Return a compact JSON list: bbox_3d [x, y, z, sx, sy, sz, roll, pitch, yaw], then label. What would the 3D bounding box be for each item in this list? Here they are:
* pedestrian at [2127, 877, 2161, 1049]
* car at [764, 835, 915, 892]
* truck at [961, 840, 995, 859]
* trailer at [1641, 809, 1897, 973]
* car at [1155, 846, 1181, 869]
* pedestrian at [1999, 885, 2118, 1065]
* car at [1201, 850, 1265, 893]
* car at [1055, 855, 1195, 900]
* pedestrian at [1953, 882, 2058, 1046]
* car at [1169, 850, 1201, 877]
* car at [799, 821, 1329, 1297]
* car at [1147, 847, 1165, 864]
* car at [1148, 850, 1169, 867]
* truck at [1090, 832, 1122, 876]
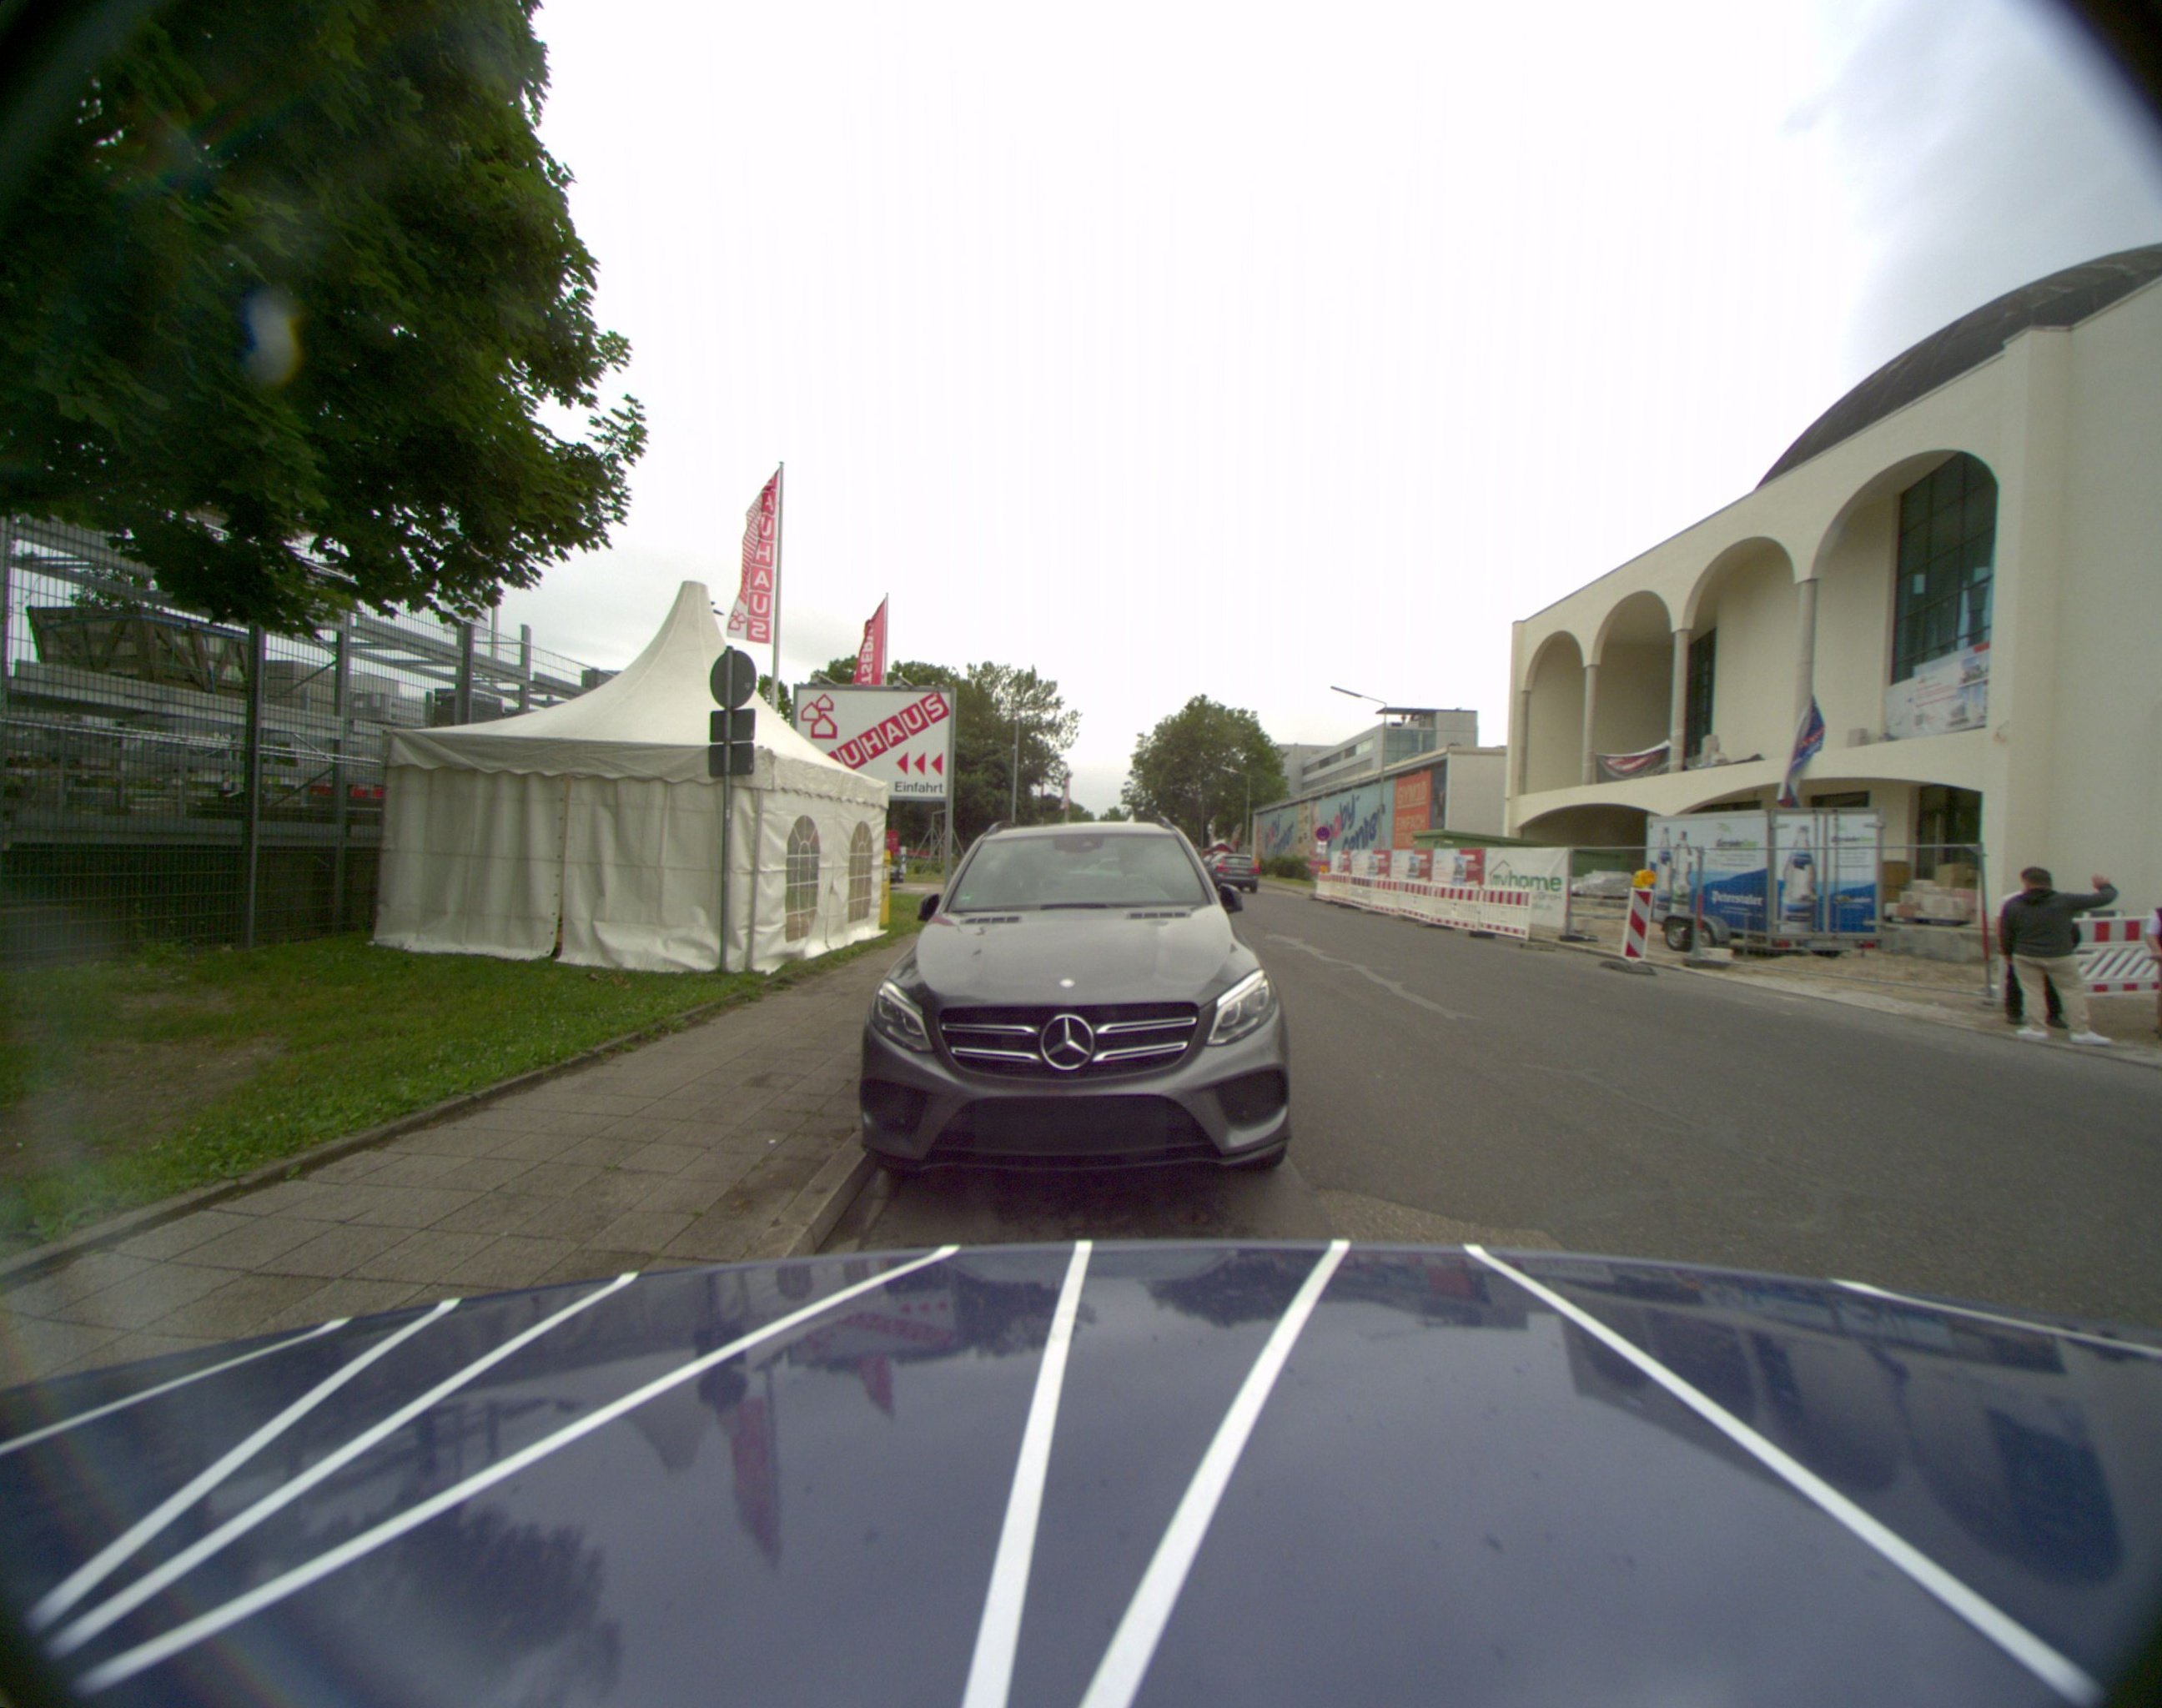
[{"bbox_3d":[11.213,1.101,7.775,0.492,1.738,0.527,0,-2,-38],"label":"pedestrian"},{"bbox_3d":[-8.253,0.294,26.235,4.491,1.674,1.940,3,1,2],"label":"car"},{"bbox_3d":[-13.562,-0.623,100.221,1.994,2.383,4.009,3,1,42],"label":"truck"},{"bbox_3d":[12.300,0.586,13.893,1.802,2.592,3.192,2,1,5],"label":"trailer"},{"bbox_3d":[7.562,0.310,66.376,1.799,1.797,4.383,3,1,1],"label":"car"},{"bbox_3d":[10.066,1.197,7.843,0.492,1.738,0.690,0,-2,-38],"label":"pedestrian"},{"bbox_3d":[6.670,0.703,33.742,1.938,1.674,4.495,3,1,1],"label":"car"},{"bbox_3d":[1.513,0.810,26.700,4.498,1.420,1.936,0,2,-16],"label":"car"},{"bbox_3d":[10.359,1.186,8.525,0.492,1.738,0.690,0,-2,-38],"label":"pedestrian"},{"bbox_3d":[7.049,0.607,51.871,1.694,1.751,4.134,2,1,1],"label":"car"},{"bbox_3d":[0.033,0.749,5.024,1.913,1.731,4.480,-1,0,3],"label":"car"},{"bbox_3d":[9.637,0.161,97.846,1.931,2.002,4.955,2,1,3],"label":"car"},{"bbox_3d":[7.793,0.400,76.804,1.733,1.562,3.947,2,1,2],"label":"car"},{"bbox_3d":[1.537,0.007,47.420,1.852,2.597,4.000,-1,1,2],"label":"truck"}]
